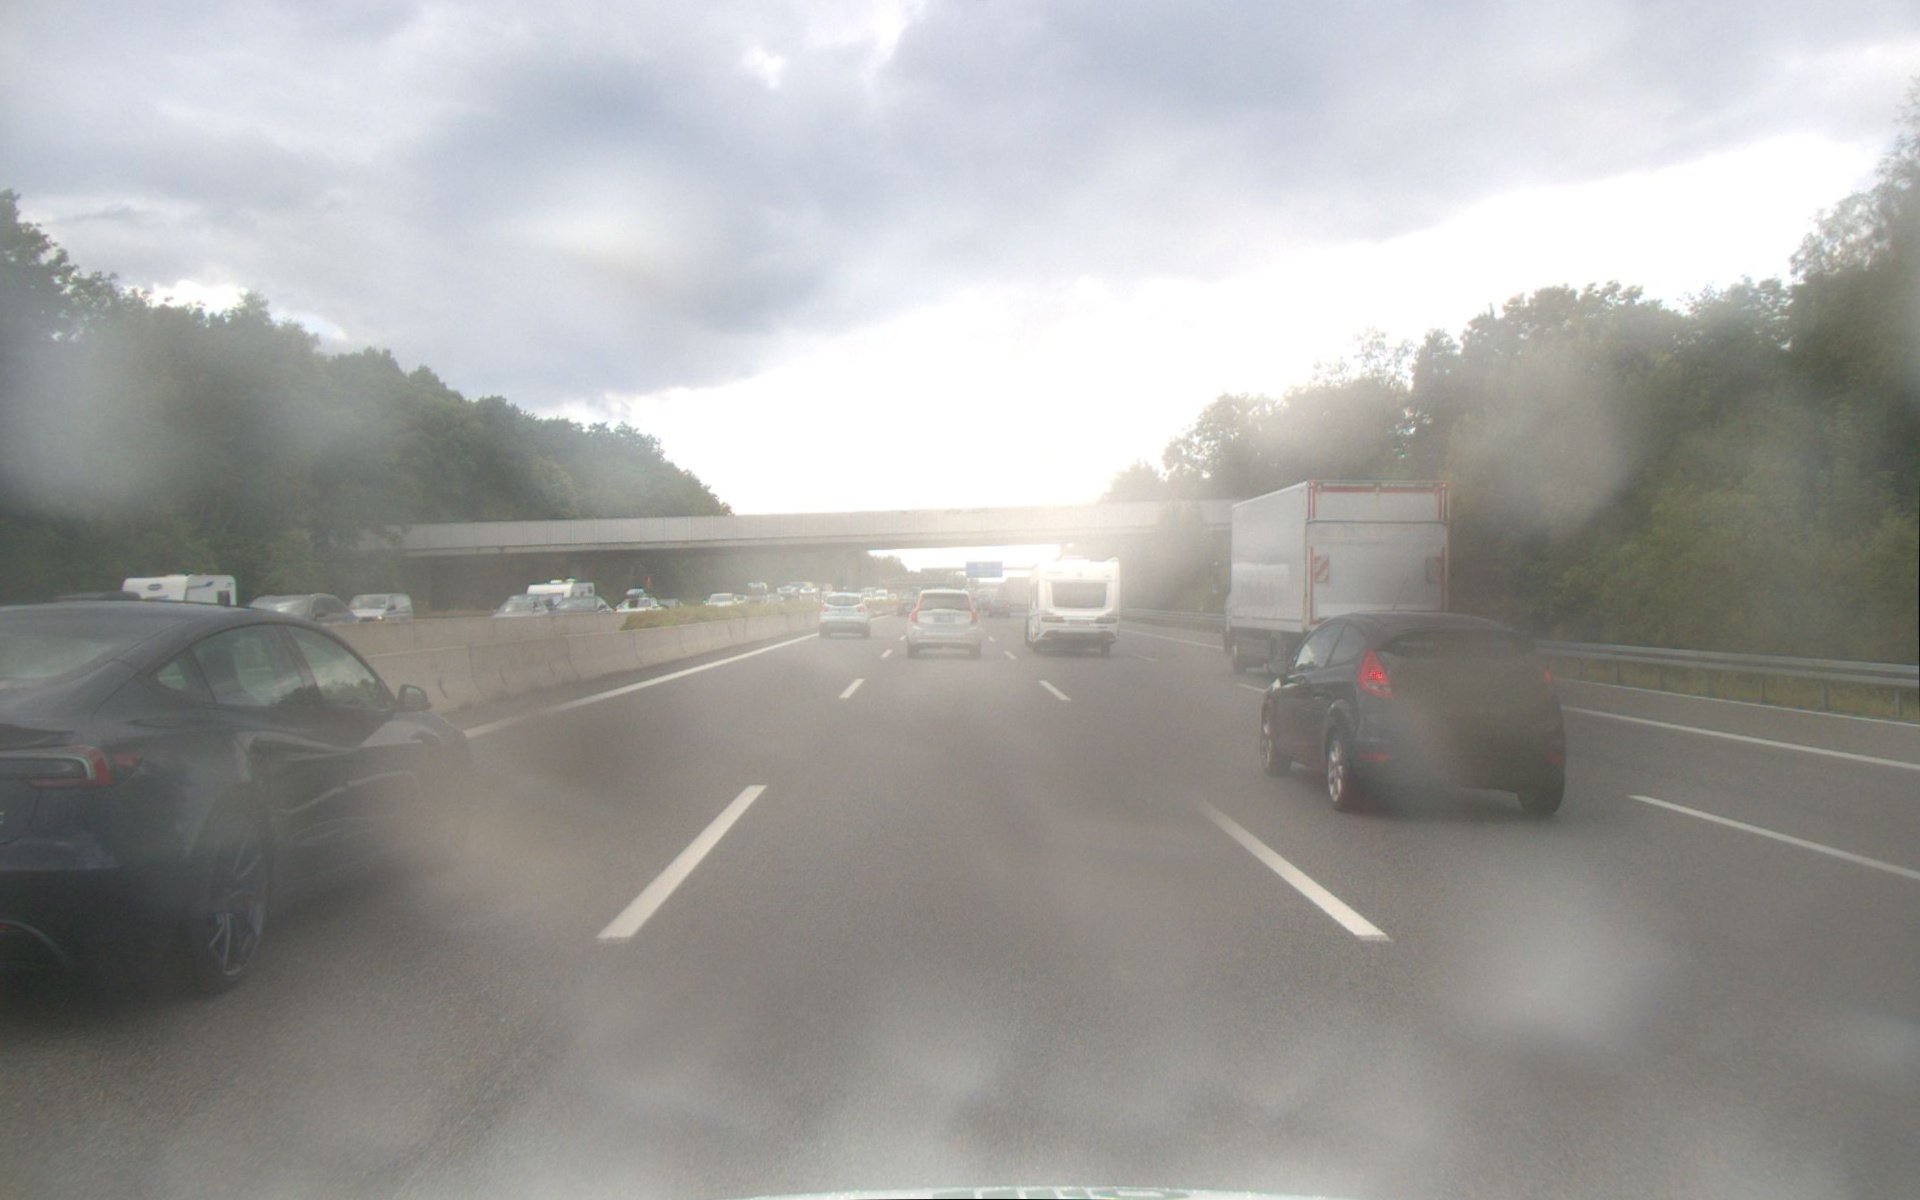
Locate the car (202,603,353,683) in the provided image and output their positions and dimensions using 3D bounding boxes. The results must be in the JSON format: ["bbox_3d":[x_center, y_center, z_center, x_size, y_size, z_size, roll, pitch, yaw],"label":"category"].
[{"bbox_3d":[-18.347,1.106,44.742,1.953,1.986,5.224,0,0,-1],"label":"car"}]

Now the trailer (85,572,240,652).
[{"bbox_3d":[-25.438,0.352,53.025,2.196,2.416,5.783,0,0,-1],"label":"trailer"}]

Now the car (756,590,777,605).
[{"bbox_3d":[-24.866,-0.324,212.426,2.175,1.986,4.828,0,0,-1],"label":"car"}]

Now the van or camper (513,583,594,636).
[{"bbox_3d":[-22.268,0.479,91.069,2.552,2.754,8.124,0,0,-1],"label":"van or camper"}]

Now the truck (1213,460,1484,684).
[{"bbox_3d":[7.335,-0.511,32.920,3.069,3.774,9.847,0,0,0],"label":"truck"}]

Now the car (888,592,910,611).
[{"bbox_3d":[-5.033,0.112,137.891,1.745,1.507,4.352,0,0,-1],"label":"car"}]

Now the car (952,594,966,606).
[{"bbox_3d":[-0.231,0.011,249.506,1.844,1.715,3.997,0,0,-4],"label":"car"}]

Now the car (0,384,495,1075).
[{"bbox_3d":[-3.598,0.325,6.882,1.953,1.852,5.161,0,0,-1],"label":"car"}]

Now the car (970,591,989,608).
[{"bbox_3d":[2.085,-0.069,178.295,2.002,1.855,4.903,0,0,-1],"label":"car"}]

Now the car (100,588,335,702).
[{"bbox_3d":[-14.053,0.776,31.725,2.196,1.986,5.224,0,0,-1],"label":"car"}]

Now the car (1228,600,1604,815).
[{"bbox_3d":[3.475,0.740,13.484,1.846,1.431,4.282,0,0,-1],"label":"car"}]

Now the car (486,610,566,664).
[{"bbox_3d":[-18.416,1.517,70.487,1.953,2.118,5.647,0,0,-1],"label":"car"}]

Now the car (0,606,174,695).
[{"bbox_3d":[-21.583,1.172,40.804,1.953,1.986,5.224,0,0,-1],"label":"car"}]

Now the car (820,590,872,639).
[{"bbox_3d":[-4.332,0.520,63.253,1.778,1.719,4.850,0,1,-2],"label":"car"}]

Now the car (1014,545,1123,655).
[{"bbox_3d":[3.049,-0.029,48.217,2.515,2.945,7.532,0,0,-1],"label":"car"}]

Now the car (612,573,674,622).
[{"bbox_3d":[-14.871,-0.149,77.904,1.953,2.219,5.288,0,0,-1],"label":"car"}]

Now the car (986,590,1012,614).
[{"bbox_3d":[3.151,0.134,135.162,2.002,1.855,4.903,0,0,-1],"label":"car"}]

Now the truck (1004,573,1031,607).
[{"bbox_3d":[6.688,-1.169,194.073,2.847,3.876,7.273,0,0,-1],"label":"truck"}]

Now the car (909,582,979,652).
[{"bbox_3d":[-0.419,0.416,43.850,1.744,1.746,4.352,0,0,0],"label":"car"}]

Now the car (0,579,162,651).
[{"bbox_3d":[-25.345,0.390,47.893,1.953,1.986,5.224,0,0,-1],"label":"car"}]
